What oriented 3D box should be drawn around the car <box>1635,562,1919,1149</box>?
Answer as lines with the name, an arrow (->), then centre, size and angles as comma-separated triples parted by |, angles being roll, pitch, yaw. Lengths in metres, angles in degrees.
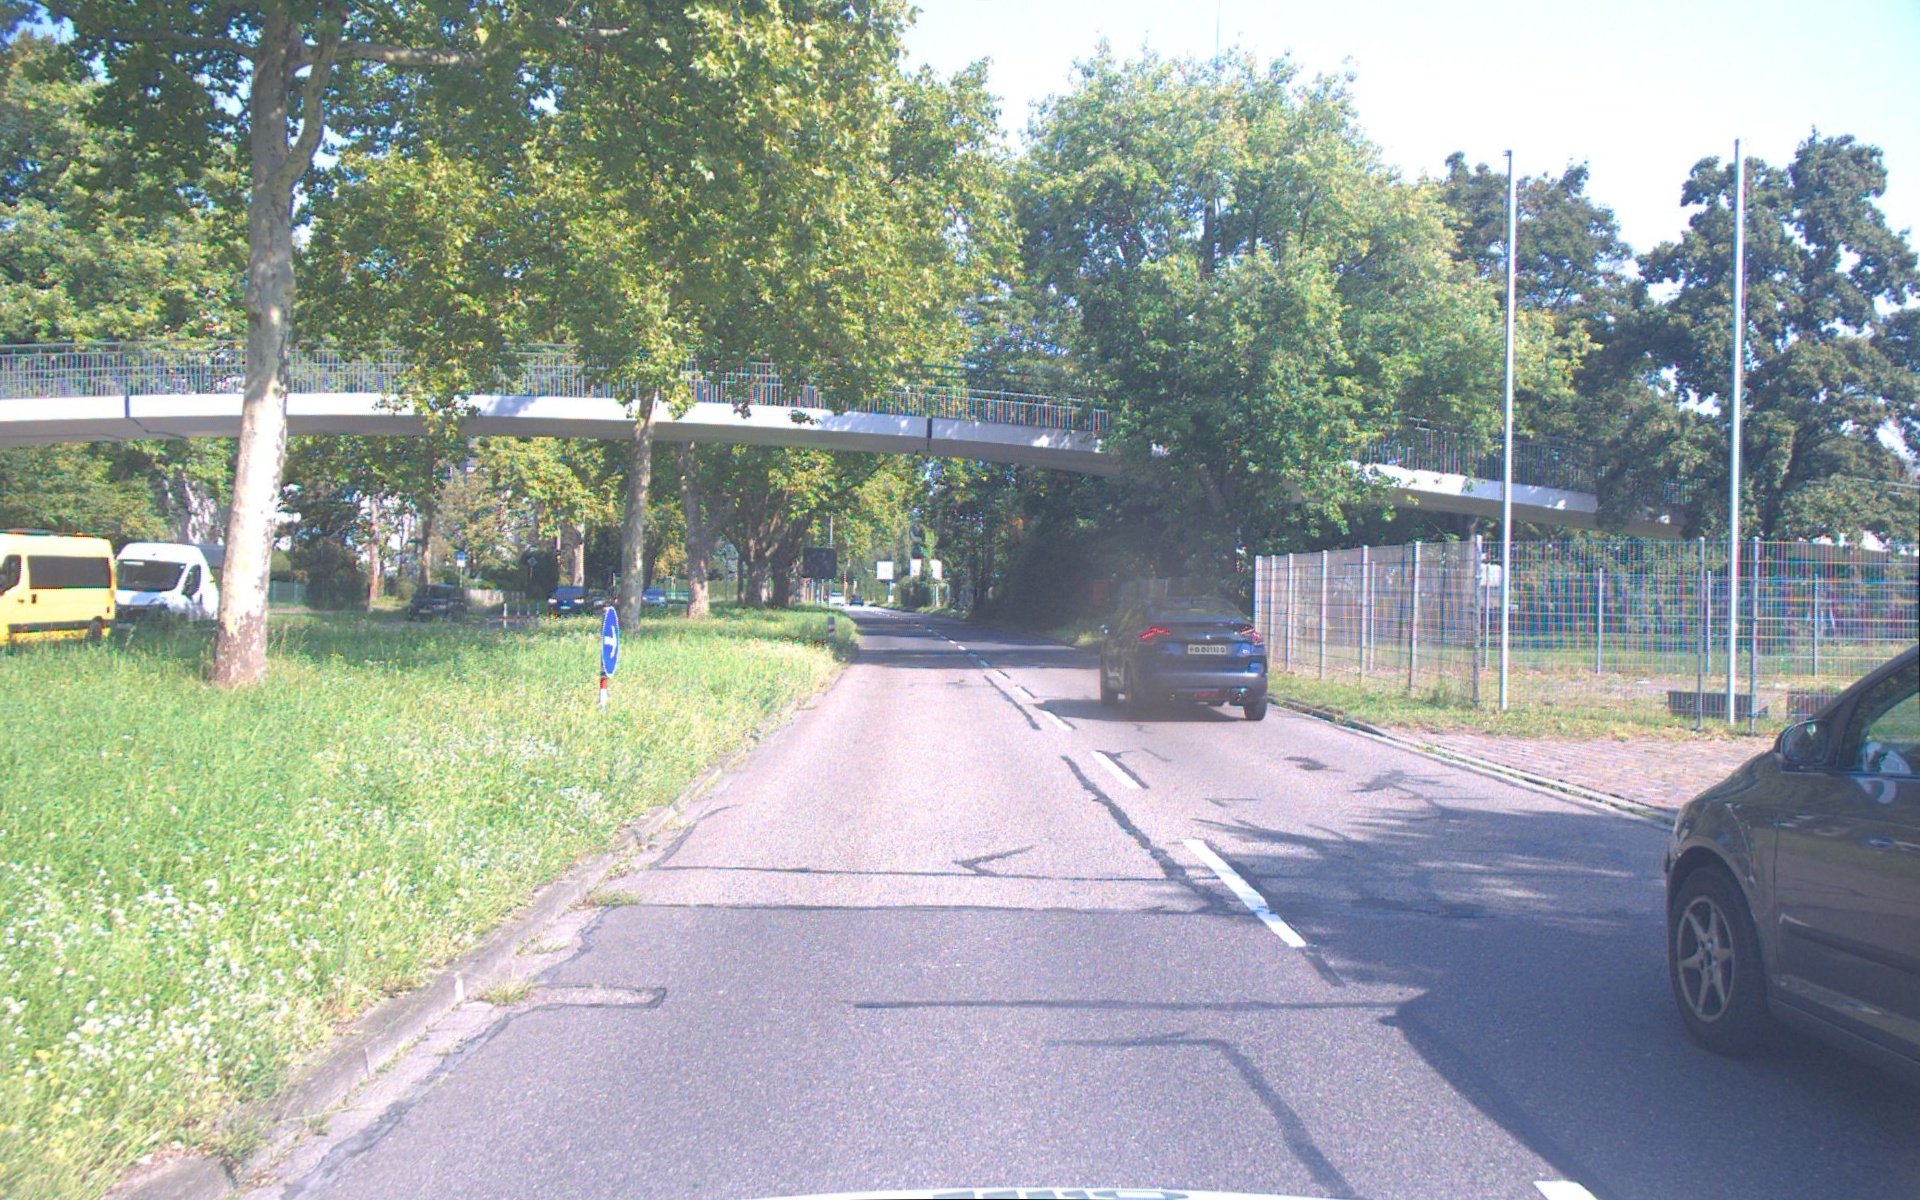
car -> 3.420, 0.710, 4.304 | 1.612, 1.584, 3.897 | 1, 0, -2

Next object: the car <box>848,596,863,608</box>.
car -> -13.452, 0.277, 213.192 | 1.763, 1.425, 3.994 | 2, 0, -6

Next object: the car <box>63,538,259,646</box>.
car -> -19.993, -0.184, 41.765 | 2.164, 2.472, 6.261 | 1, 0, -3

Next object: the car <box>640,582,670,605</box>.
car -> -23.712, -0.534, 128.701 | 1.766, 1.750, 4.716 | 1, 1, -4

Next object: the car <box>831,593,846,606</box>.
car -> -14.787, -0.079, 201.029 | 1.654, 1.487, 3.996 | 1, 0, -5

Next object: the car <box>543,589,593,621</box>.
car -> -20.168, 0.254, 85.236 | 1.752, 1.560, 4.452 | 1, 0, -4

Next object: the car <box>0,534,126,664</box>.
car -> -19.741, -0.045, 33.926 | 2.163, 2.523, 6.060 | 1, 0, -1

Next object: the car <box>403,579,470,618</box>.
car -> -21.603, -0.073, 68.373 | 1.491, 1.560, 3.864 | 1, 0, 1

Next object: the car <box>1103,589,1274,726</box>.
car -> 2.934, 0.694, 22.010 | 1.611, 1.616, 4.254 | 1, 0, -1

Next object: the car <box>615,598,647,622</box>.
car -> -21.890, 0.660, 110.117 | 1.658, 1.559, 4.065 | 1, 0, -5

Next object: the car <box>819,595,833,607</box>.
car -> -17.611, 0.142, 217.259 | 1.653, 1.487, 3.848 | 1, 0, -2
